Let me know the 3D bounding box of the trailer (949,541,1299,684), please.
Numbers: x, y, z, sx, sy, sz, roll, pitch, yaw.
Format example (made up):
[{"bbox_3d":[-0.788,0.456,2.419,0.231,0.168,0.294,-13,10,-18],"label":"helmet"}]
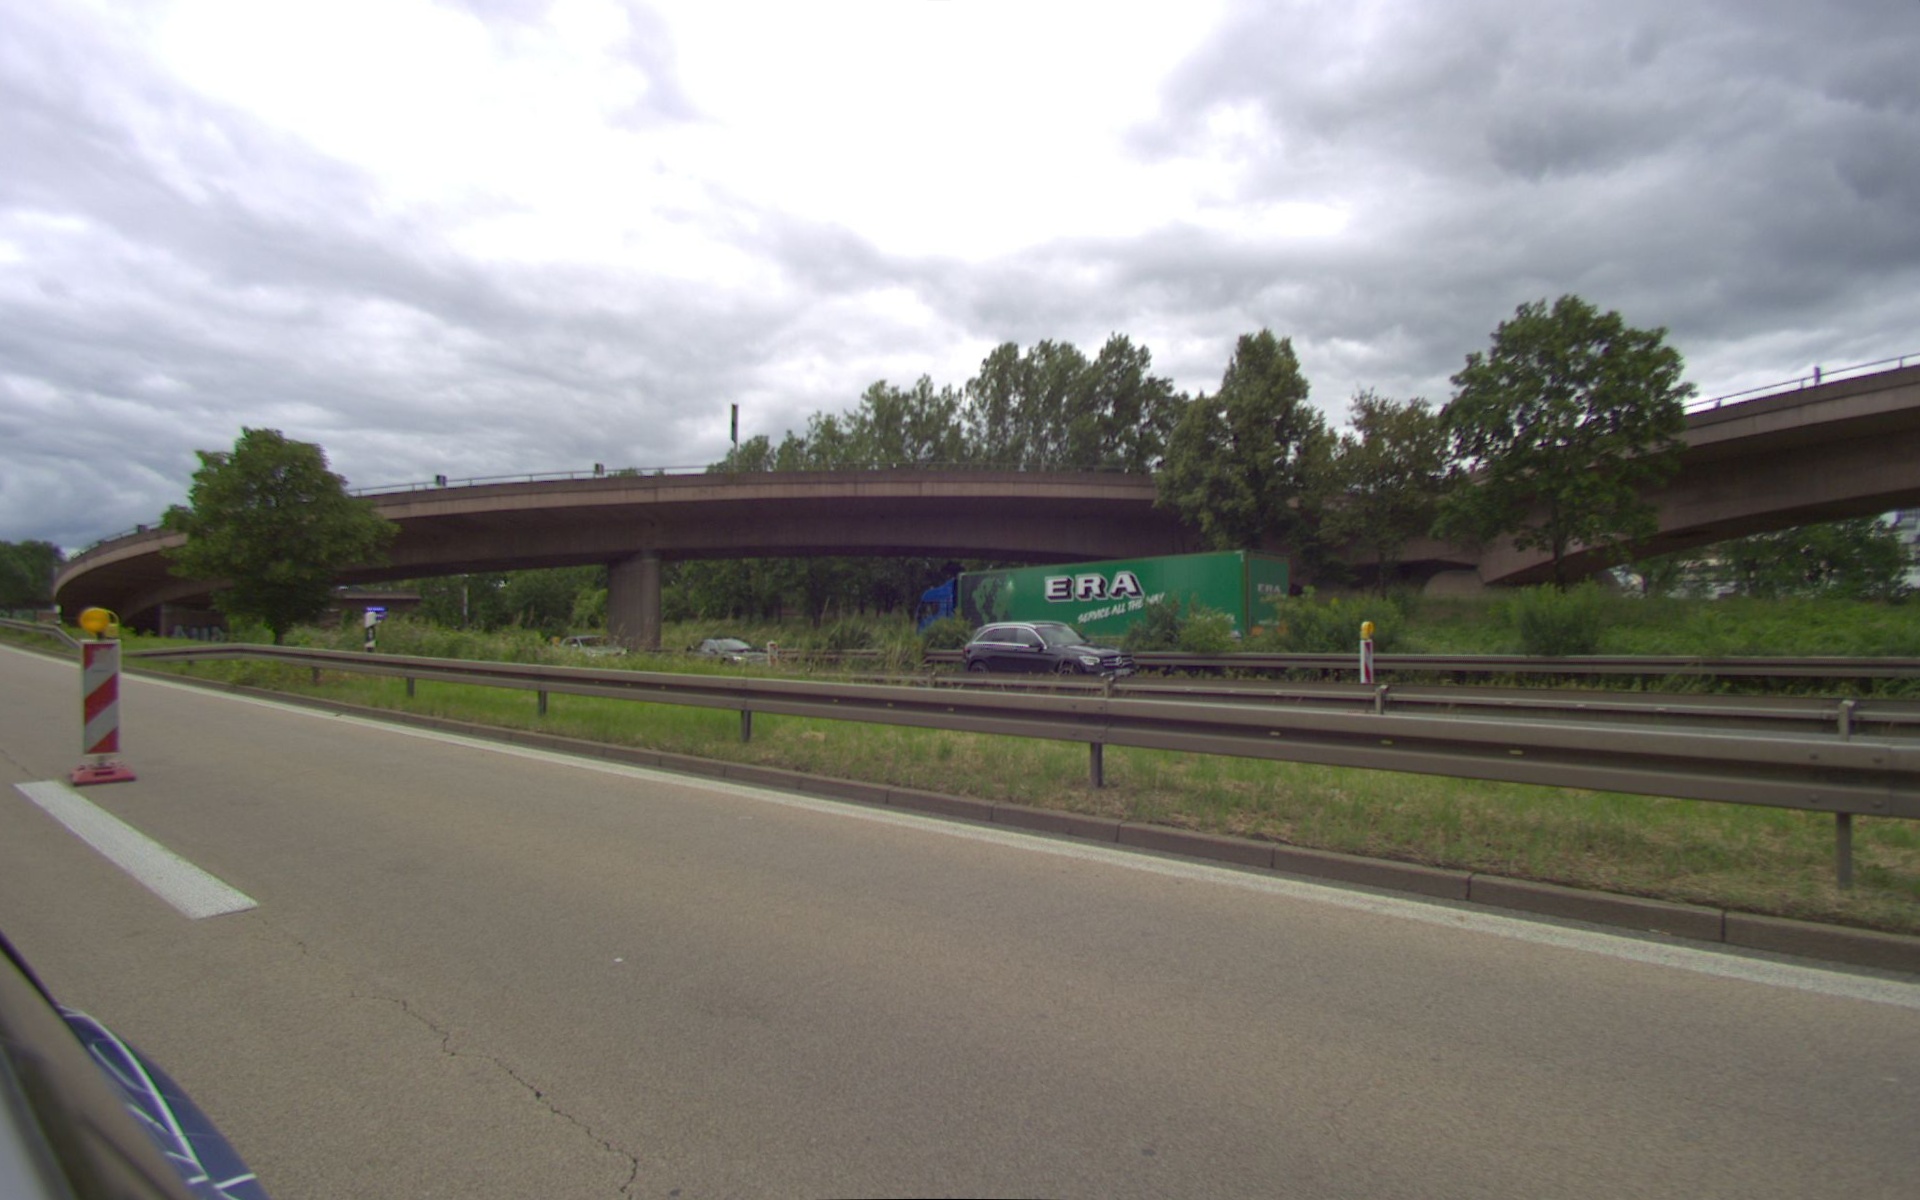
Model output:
[{"bbox_3d":[5.213,0.577,36.882,2.737,4.327,13.997,1,-2,-41],"label":"trailer"}]

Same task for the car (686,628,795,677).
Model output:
[{"bbox_3d":[-7.881,1.828,36.077,2.012,1.627,4.301,0,-2,-41],"label":"car"}]

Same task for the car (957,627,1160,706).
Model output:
[{"bbox_3d":[2.193,1.475,23.638,2.012,1.627,4.585,0,-2,-40],"label":"car"}]

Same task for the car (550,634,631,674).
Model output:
[{"bbox_3d":[-16.358,2.358,44.676,2.012,1.627,4.301,0,-2,-41],"label":"car"}]

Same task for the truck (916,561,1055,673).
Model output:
[{"bbox_3d":[0.965,0.732,41.769,2.718,4.305,5.510,0,-2,-41],"label":"truck"}]
